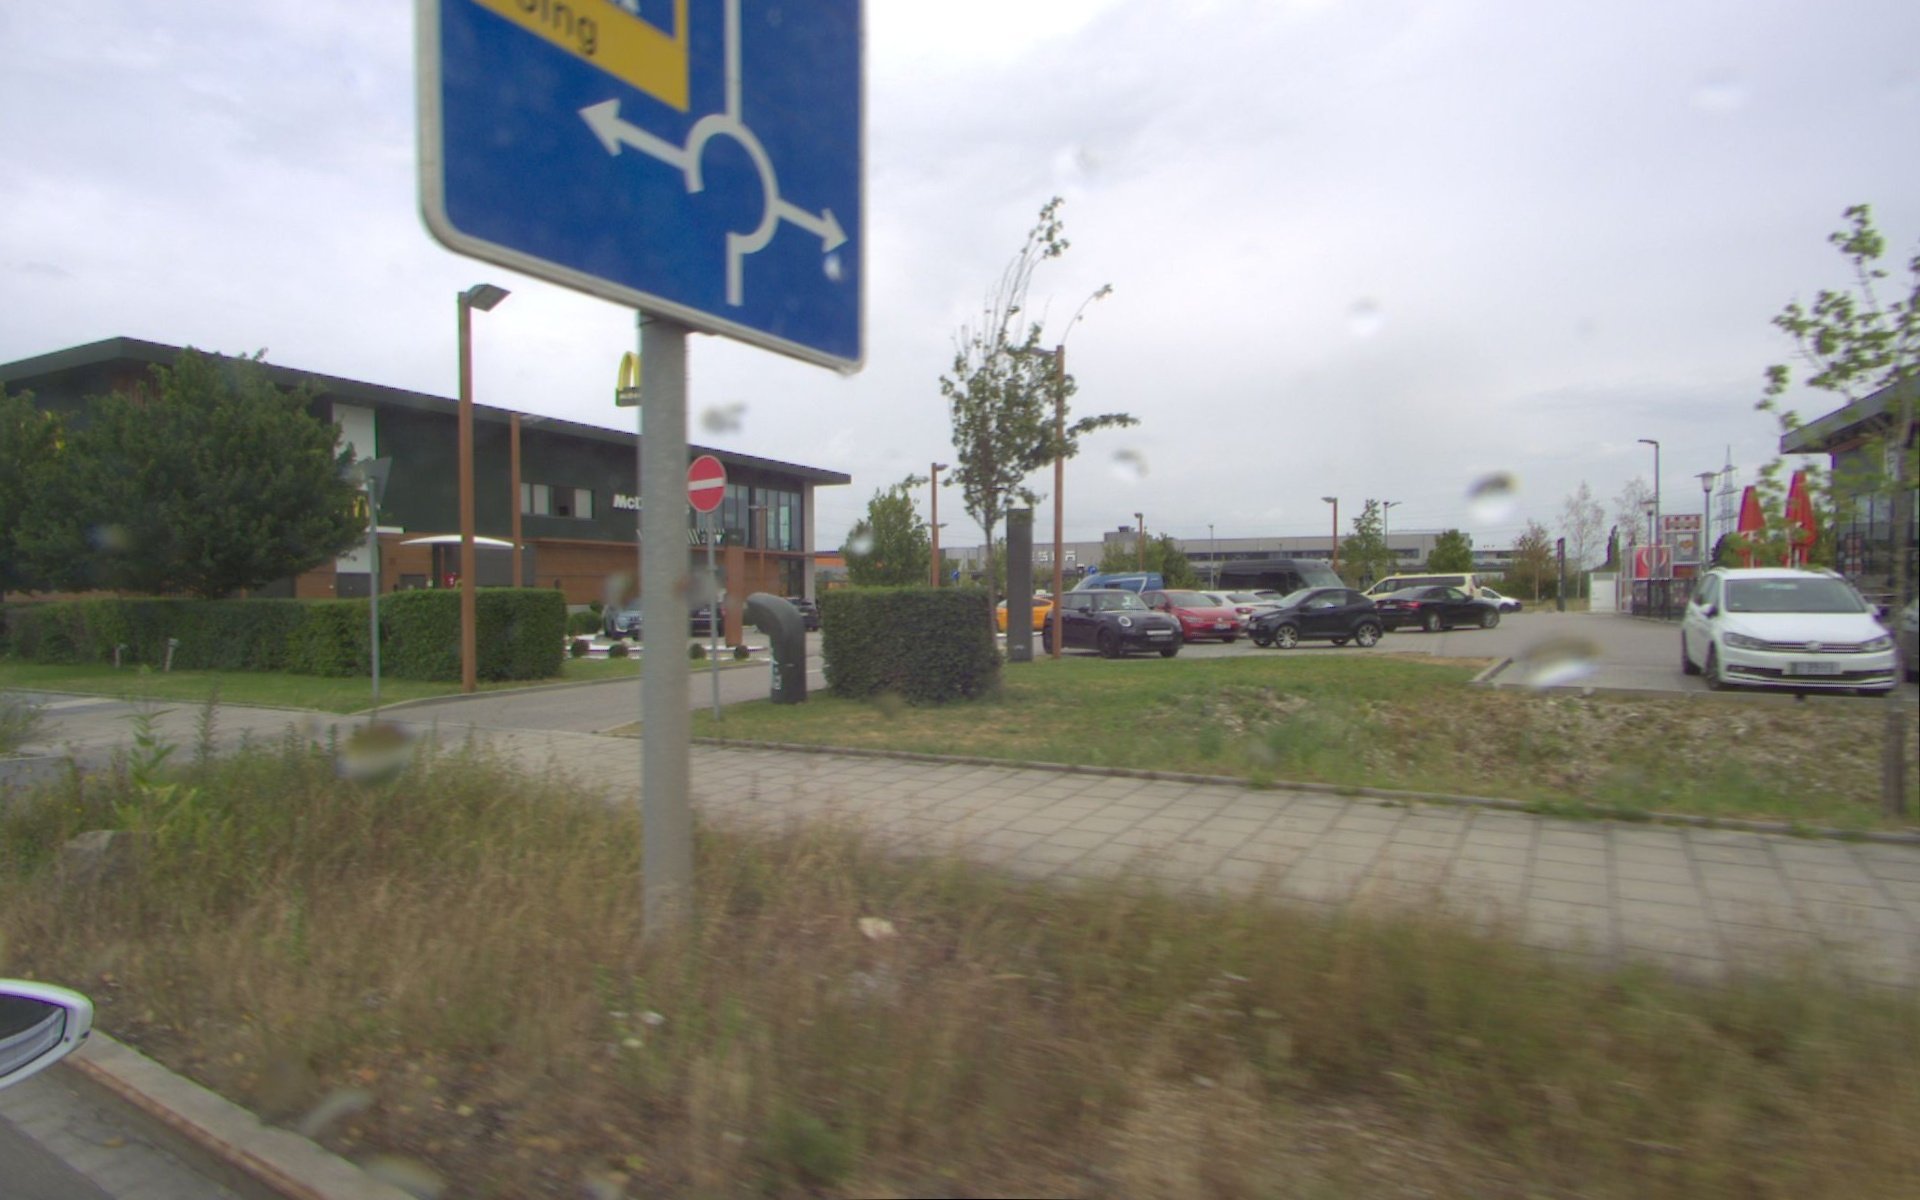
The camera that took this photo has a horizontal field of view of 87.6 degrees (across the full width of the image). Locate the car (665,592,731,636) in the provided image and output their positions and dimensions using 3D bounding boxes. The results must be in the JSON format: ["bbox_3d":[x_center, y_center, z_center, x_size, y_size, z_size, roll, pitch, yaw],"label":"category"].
[{"bbox_3d":[-10.961,0.580,41.681,2.088,1.739,4.216,0,0,-23],"label":"car"}]

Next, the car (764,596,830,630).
[{"bbox_3d":[-7.733,0.602,47.148,1.765,1.517,3.978,0,0,-31],"label":"car"}]

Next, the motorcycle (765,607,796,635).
[{"bbox_3d":[-6.620,0.752,36.876,0.728,0.998,1.818,-1,0,-22],"label":"motorcycle"}]

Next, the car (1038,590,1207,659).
[{"bbox_3d":[3.402,0.468,21.663,1.788,1.330,3.835,-1,1,-24],"label":"car"}]

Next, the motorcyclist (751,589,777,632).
[{"bbox_3d":[-8.675,0.466,44.217,0.949,1.856,0.842,0,0,-26],"label":"motorcyclist"}]

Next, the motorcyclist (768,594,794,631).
[{"bbox_3d":[-6.600,0.462,36.884,0.769,1.352,0.893,-1,1,-23],"label":"motorcyclist"}]

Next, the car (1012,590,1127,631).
[{"bbox_3d":[4.828,0.443,43.966,4.656,1.679,1.993,-1,1,-23],"label":"car"}]

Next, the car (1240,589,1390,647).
[{"bbox_3d":[8.441,0.428,23.945,3.031,1.326,1.525,0,0,-7],"label":"car"}]

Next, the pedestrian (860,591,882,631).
[{"bbox_3d":[-3.280,0.395,36.935,0.756,1.458,0.623,0,1,-5],"label":"pedestrian"}]

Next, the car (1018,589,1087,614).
[{"bbox_3d":[6.857,0.099,74.123,4.687,1.803,1.949,0,1,26],"label":"car"}]

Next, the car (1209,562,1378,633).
[{"bbox_3d":[13.021,-0.111,39.837,2.243,2.535,7.305,-1,1,-21],"label":"car"}]

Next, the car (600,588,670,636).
[{"bbox_3d":[-12.388,0.452,38.011,1.969,1.739,3.983,0,0,-27],"label":"car"}]

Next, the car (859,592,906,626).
[{"bbox_3d":[-4.120,0.456,53.546,1.961,1.745,4.000,0,0,4],"label":"car"}]

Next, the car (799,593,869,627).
[{"bbox_3d":[-6.307,0.504,49.926,1.973,1.602,3.976,0,0,-33],"label":"car"}]

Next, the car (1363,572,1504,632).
[{"bbox_3d":[15.339,0.027,32.379,4.312,1.726,1.996,-2,2,-29],"label":"car"}]

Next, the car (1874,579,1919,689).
[{"bbox_3d":[13.480,0.456,12.544,2.043,1.456,4.461,0,1,30],"label":"car"}]

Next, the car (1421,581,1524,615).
[{"bbox_3d":[31.292,-0.117,61.352,5.487,1.966,2.310,0,1,26],"label":"car"}]

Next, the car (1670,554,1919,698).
[{"bbox_3d":[11.362,0.279,13.842,1.907,1.661,4.344,0,1,27],"label":"car"}]

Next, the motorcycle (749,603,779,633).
[{"bbox_3d":[-8.637,0.780,44.157,0.846,1.261,1.958,0,0,-26],"label":"motorcycle"}]

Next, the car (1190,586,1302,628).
[{"bbox_3d":[10.638,0.255,37.505,1.923,1.463,4.207,-1,0,-21],"label":"car"}]

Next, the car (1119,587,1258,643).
[{"bbox_3d":[6.276,0.377,28.010,1.971,1.448,4.145,0,1,-18],"label":"car"}]

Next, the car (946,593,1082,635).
[{"bbox_3d":[2.017,0.499,37.492,4.654,1.463,1.994,-1,0,-21],"label":"car"}]

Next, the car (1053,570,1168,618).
[{"bbox_3d":[8.384,-0.344,55.911,5.937,2.562,2.278,0,1,-14],"label":"car"}]

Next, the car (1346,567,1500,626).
[{"bbox_3d":[20.014,-0.153,43.465,5.625,2.382,2.515,0,1,41],"label":"car"}]
